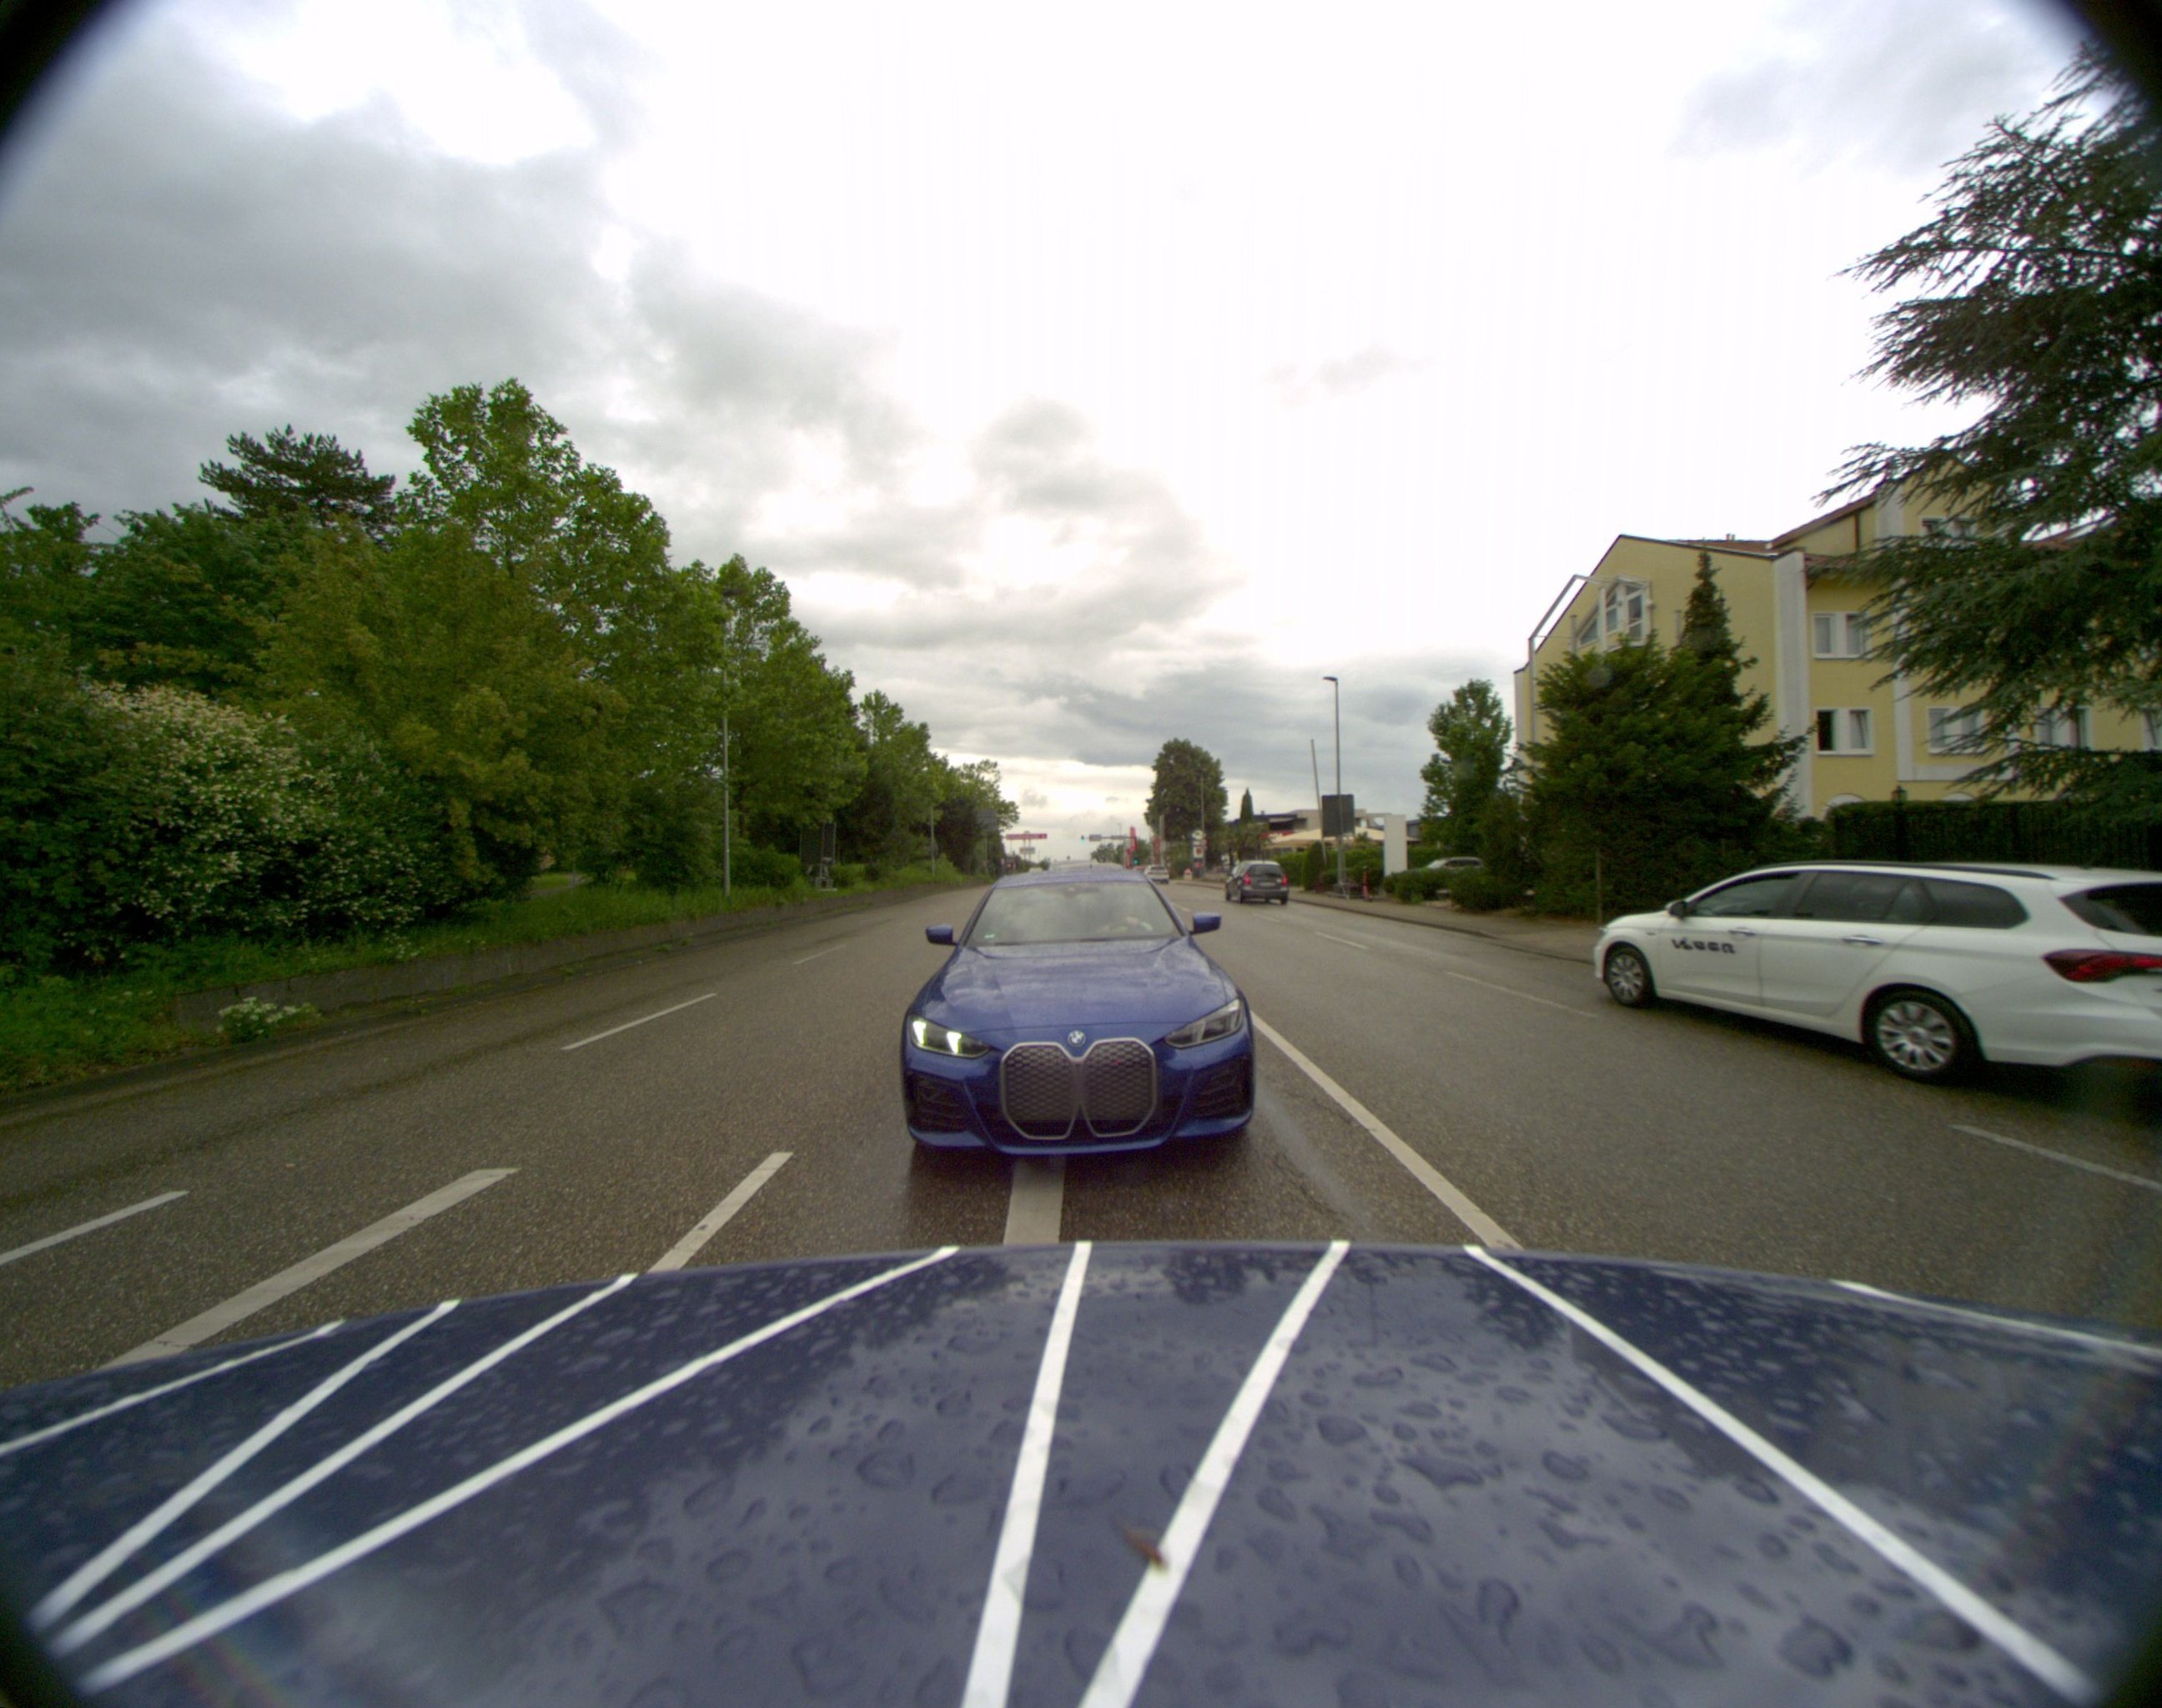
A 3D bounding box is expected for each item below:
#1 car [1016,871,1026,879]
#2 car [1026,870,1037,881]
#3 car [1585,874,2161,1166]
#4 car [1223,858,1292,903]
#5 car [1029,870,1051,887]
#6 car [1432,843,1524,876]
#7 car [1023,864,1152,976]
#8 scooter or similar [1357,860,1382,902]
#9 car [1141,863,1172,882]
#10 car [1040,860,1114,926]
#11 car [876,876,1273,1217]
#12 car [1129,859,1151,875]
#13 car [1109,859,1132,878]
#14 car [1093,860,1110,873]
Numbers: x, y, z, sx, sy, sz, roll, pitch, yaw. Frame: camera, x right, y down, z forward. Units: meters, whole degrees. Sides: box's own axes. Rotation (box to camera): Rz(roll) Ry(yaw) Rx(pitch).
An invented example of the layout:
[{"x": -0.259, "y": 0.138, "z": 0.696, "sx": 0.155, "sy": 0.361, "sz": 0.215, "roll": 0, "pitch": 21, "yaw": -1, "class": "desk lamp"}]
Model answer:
[{"x": -13.208, "y": 4.621, "z": 167.328, "sx": 1.812, "sy": 1.718, "sz": 3.998, "roll": -3, "pitch": 1, "yaw": -3, "class": "car"}, {"x": -8.030, "y": 3.480, "z": 123.742, "sx": 1.710, "sy": 1.570, "sz": 3.518, "roll": -1, "pitch": 0, "yaw": -2, "class": "car"}, {"x": 6.463, "y": 0.905, "z": 6.042, "sx": 1.973, "sy": 1.445, "sz": 4.309, "roll": 0, "pitch": -1, "yaw": -1, "class": "car"}, {"x": 6.591, "y": 0.968, "z": 28.701, "sx": 1.704, "sy": 1.589, "sz": 3.550, "roll": 0, "pitch": -1, "yaw": -1, "class": "car"}, {"x": -3.846, "y": 2.243, "z": 71.338, "sx": 1.775, "sy": 1.448, "sz": 4.000, "roll": -1, "pitch": 0, "yaw": 1, "class": "car"}, {"x": 20.956, "y": 0.296, "z": 40.208, "sx": 3.930, "sy": 1.642, "sz": 1.719, "roll": -1, "pitch": 0, "yaw": 6, "class": "car"}, {"x": 0.113, "y": 0.969, "z": 12.925, "sx": 1.807, "sy": 1.543, "sz": 4.223, "roll": -1, "pitch": 0, "yaw": 0, "class": "car"}, {"x": 10.053, "y": 0.928, "z": 26.516, "sx": 0.505, "sy": 1.398, "sz": 1.882, "roll": 0, "pitch": 0, "yaw": 11, "class": "scooter or similar"}, {"x": 5.905, "y": 1.444, "z": 59.570, "sx": 1.790, "sy": 1.451, "sz": 4.431, "roll": 0, "pitch": -1, "yaw": -2, "class": "car"}, {"x": -0.091, "y": 0.990, "z": 20.883, "sx": 1.807, "sy": 1.543, "sz": 4.000, "roll": -1, "pitch": 0, "yaw": 0, "class": "car"}, {"x": -0.026, "y": 0.952, "z": 5.645, "sx": 1.803, "sy": 1.399, "sz": 4.272, "roll": -1, "pitch": 0, "yaw": 0, "class": "car"}, {"x": 5.751, "y": 1.232, "z": 74.082, "sx": 1.699, "sy": 1.467, "sz": 3.779, "roll": -2, "pitch": 0, "yaw": -2, "class": "car"}, {"x": 3.141, "y": 1.148, "z": 60.878, "sx": 1.643, "sy": 1.451, "sz": 3.518, "roll": -1, "pitch": 0, "yaw": 0, "class": "car"}, {"x": 2.420, "y": 1.446, "z": 89.459, "sx": 1.820, "sy": 1.373, "sz": 4.272, "roll": -2, "pitch": 0, "yaw": 0, "class": "car"}]
